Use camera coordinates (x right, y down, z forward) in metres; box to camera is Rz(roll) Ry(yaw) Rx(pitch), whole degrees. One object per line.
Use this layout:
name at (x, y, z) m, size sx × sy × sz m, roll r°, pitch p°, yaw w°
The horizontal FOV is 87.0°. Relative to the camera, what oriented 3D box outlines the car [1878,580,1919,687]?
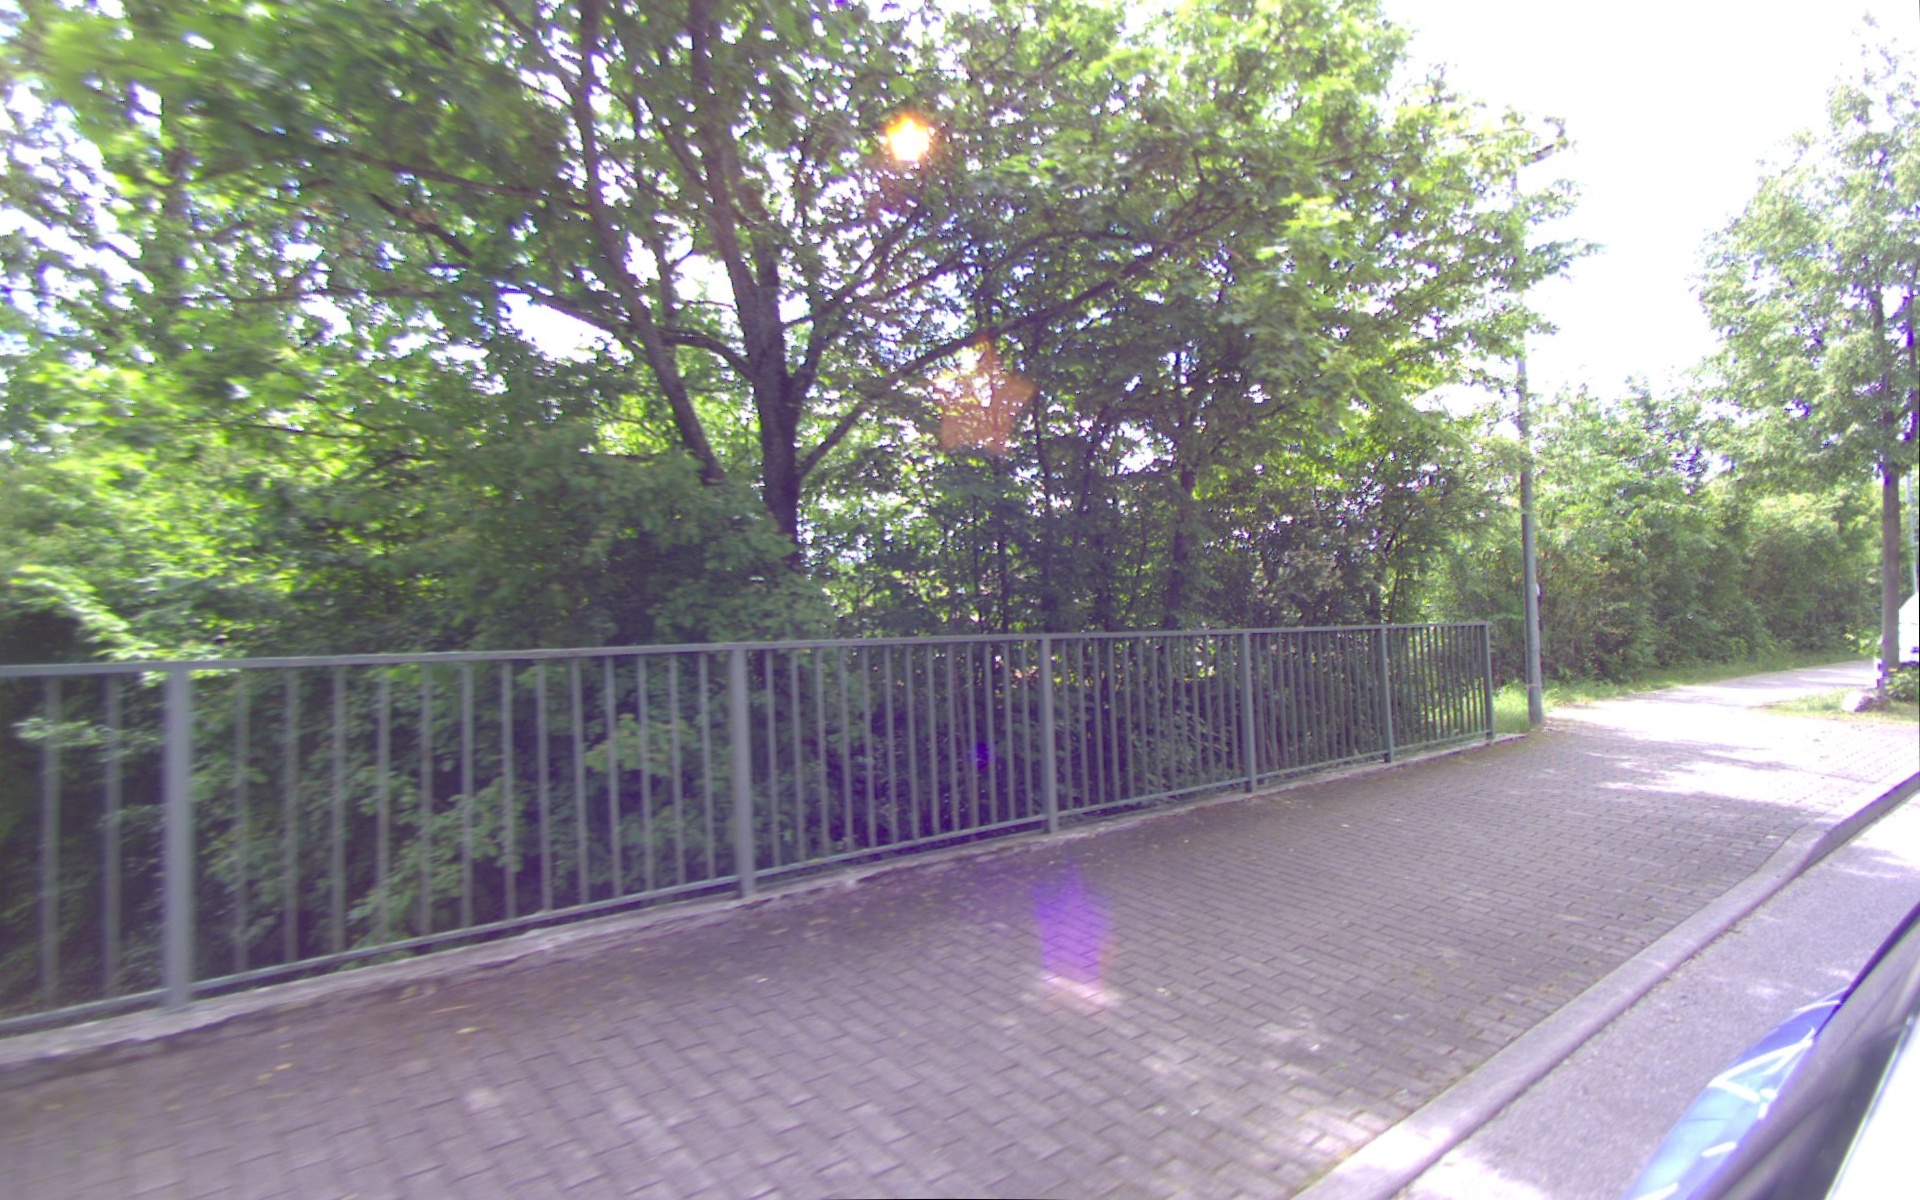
car at (16.433, 0.506, 16.232) m, size 4.291 × 1.620 × 1.809 m, roll 0°, pitch 1°, yaw -38°
